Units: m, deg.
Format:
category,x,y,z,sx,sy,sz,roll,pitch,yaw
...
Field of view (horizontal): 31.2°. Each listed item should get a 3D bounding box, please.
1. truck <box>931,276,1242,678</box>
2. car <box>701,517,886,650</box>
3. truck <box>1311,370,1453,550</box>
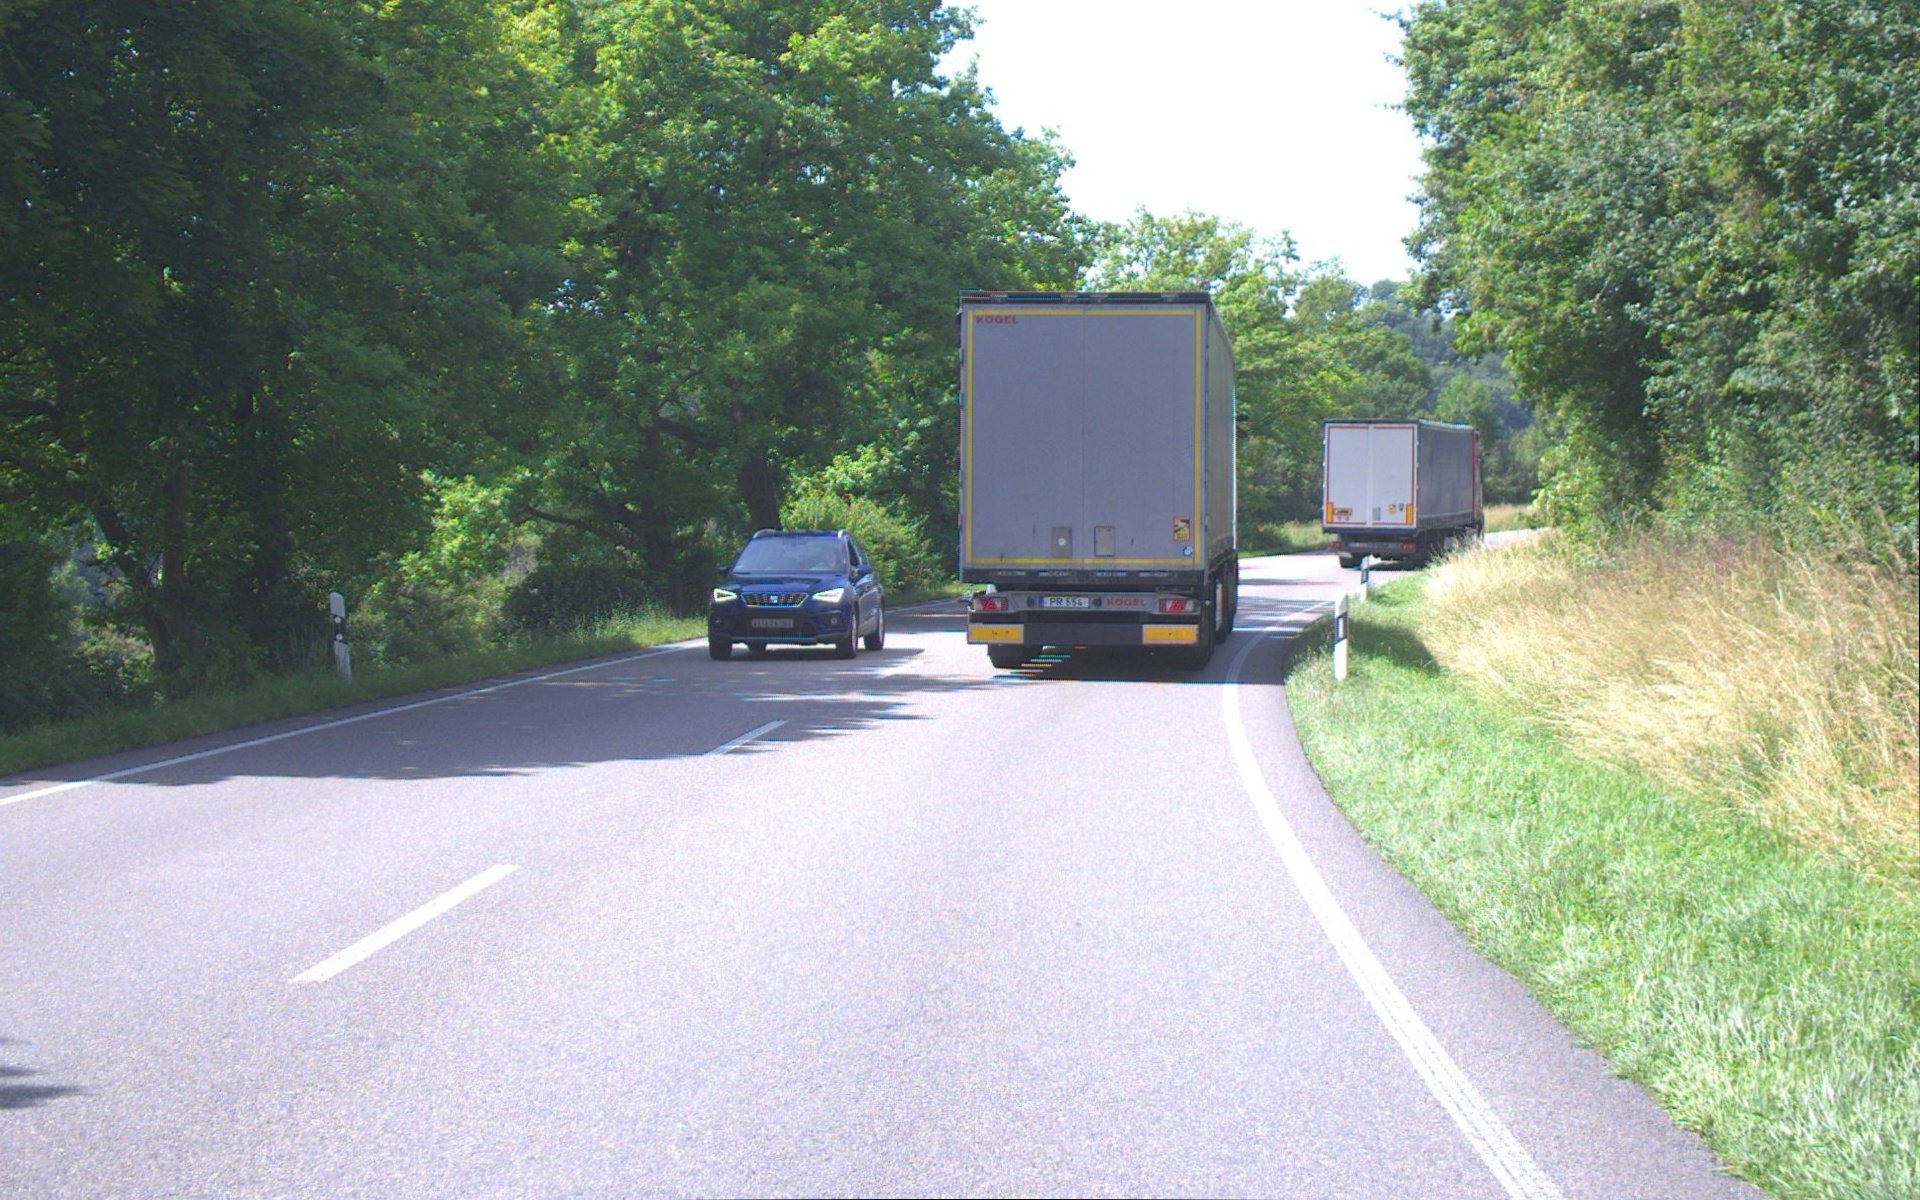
category,x,y,z,sx,sy,sz,roll,pitch,yaw
truck,1.910,-1.515,42.536,2.802,4.054,15.323,0,2,6
car,-1.982,-0.231,41.943,1.670,1.526,3.957,-1,1,6
truck,12.357,-4.018,99.227,3.106,4.689,16.583,-1,2,10
